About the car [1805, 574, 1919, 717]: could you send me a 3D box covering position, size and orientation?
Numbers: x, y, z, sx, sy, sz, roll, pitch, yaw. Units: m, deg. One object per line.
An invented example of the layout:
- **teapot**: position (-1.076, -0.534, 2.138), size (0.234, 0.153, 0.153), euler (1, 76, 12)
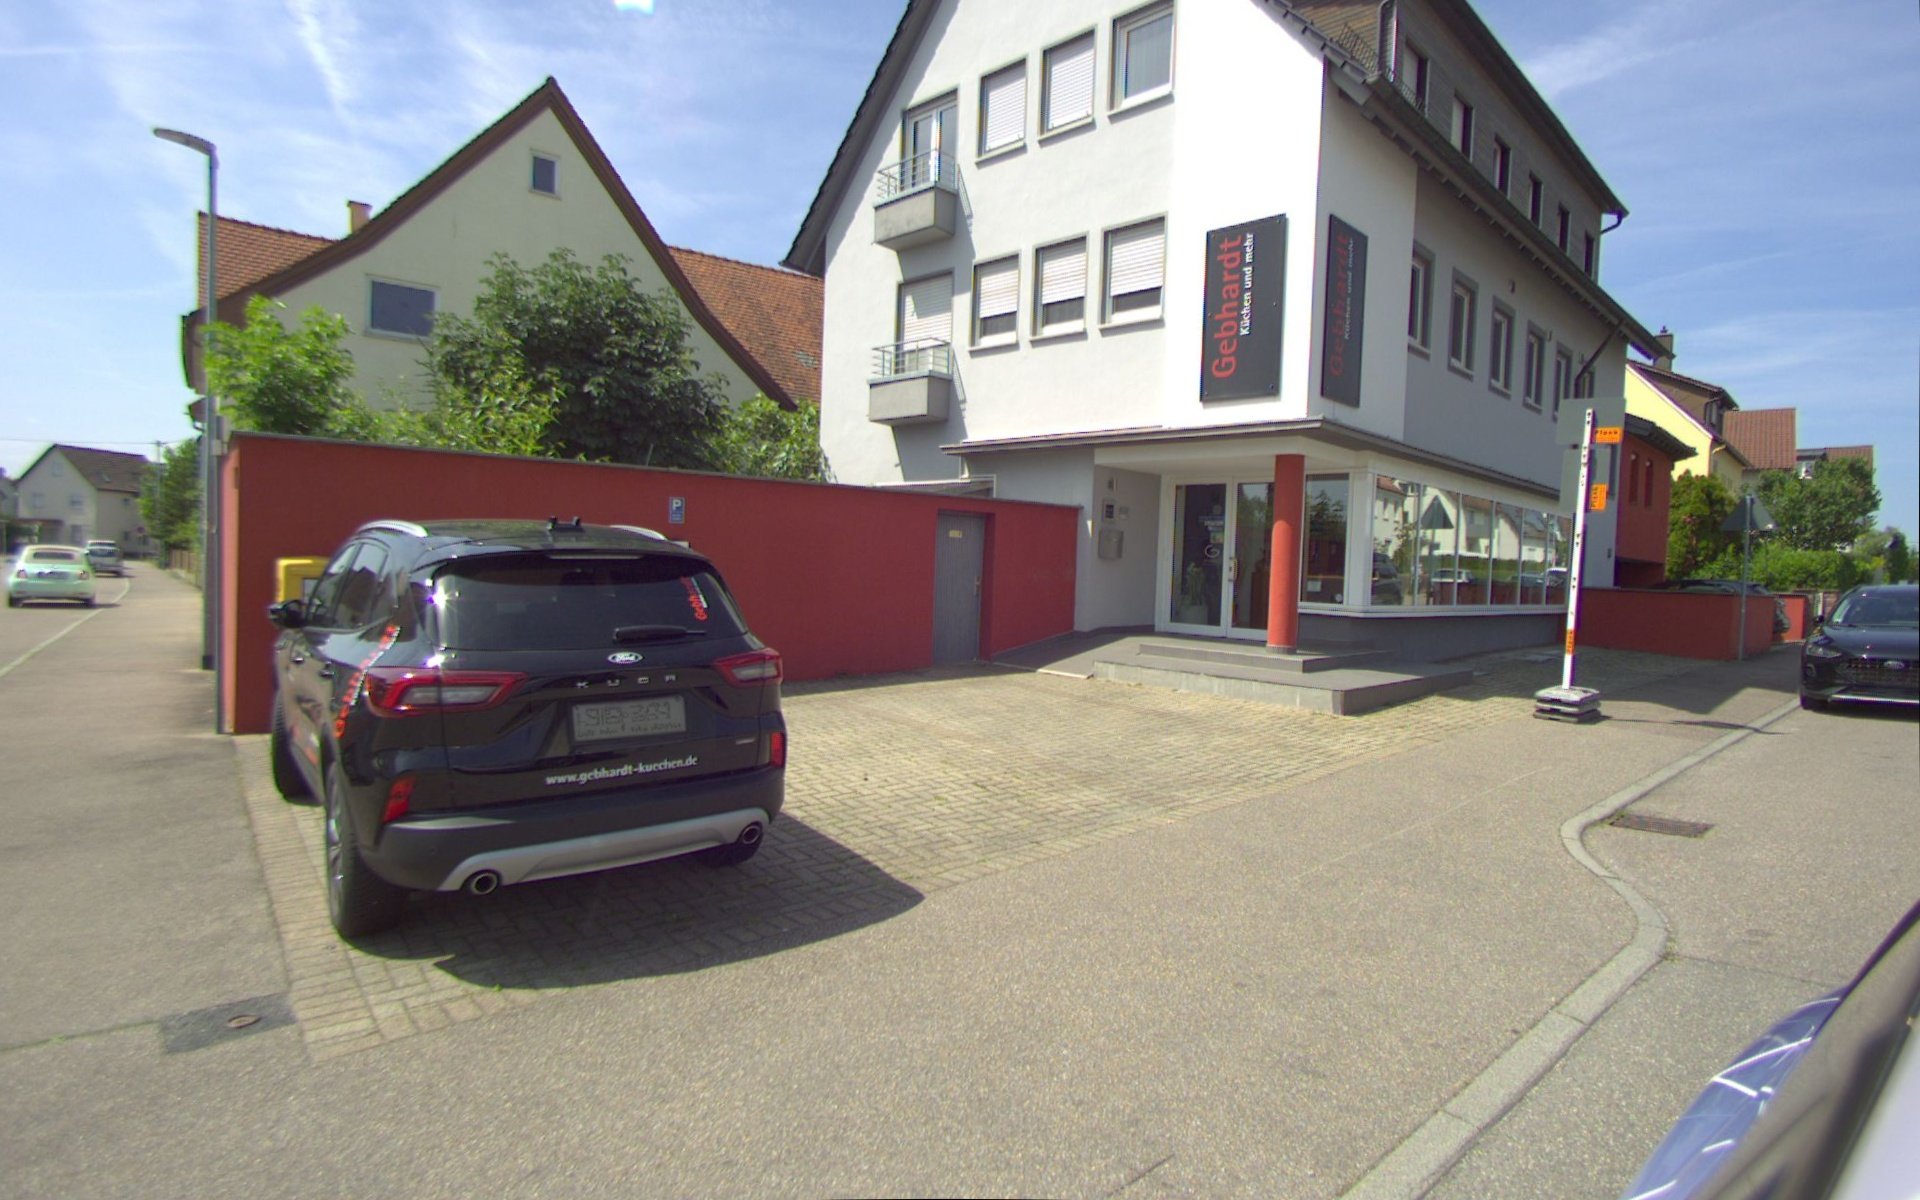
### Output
- **car**: position (11.896, 0.463, 12.477), size (4.332, 1.546, 1.764), euler (-1, 2, -43)

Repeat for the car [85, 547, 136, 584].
- **car**: position (-41.986, -1.723, 50.000), size (1.815, 1.769, 3.994), euler (-1, 3, -42)

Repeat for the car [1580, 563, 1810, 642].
- **car**: position (18.363, 0.114, 25.434), size (1.846, 1.690, 4.368), euler (-1, -3, -44)

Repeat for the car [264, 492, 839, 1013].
- **car**: position (-2.551, 0.401, 5.505), size (1.814, 1.673, 4.306), euler (-1, 2, -38)

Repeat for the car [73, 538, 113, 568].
- **car**: position (-53.465, -2.908, 62.356), size (1.815, 1.769, 3.994), euler (-1, 3, -42)

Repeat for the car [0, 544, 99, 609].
- **car**: position (-23.102, -0.624, 25.723), size (1.730, 1.499, 3.993), euler (1, 2, -42)
